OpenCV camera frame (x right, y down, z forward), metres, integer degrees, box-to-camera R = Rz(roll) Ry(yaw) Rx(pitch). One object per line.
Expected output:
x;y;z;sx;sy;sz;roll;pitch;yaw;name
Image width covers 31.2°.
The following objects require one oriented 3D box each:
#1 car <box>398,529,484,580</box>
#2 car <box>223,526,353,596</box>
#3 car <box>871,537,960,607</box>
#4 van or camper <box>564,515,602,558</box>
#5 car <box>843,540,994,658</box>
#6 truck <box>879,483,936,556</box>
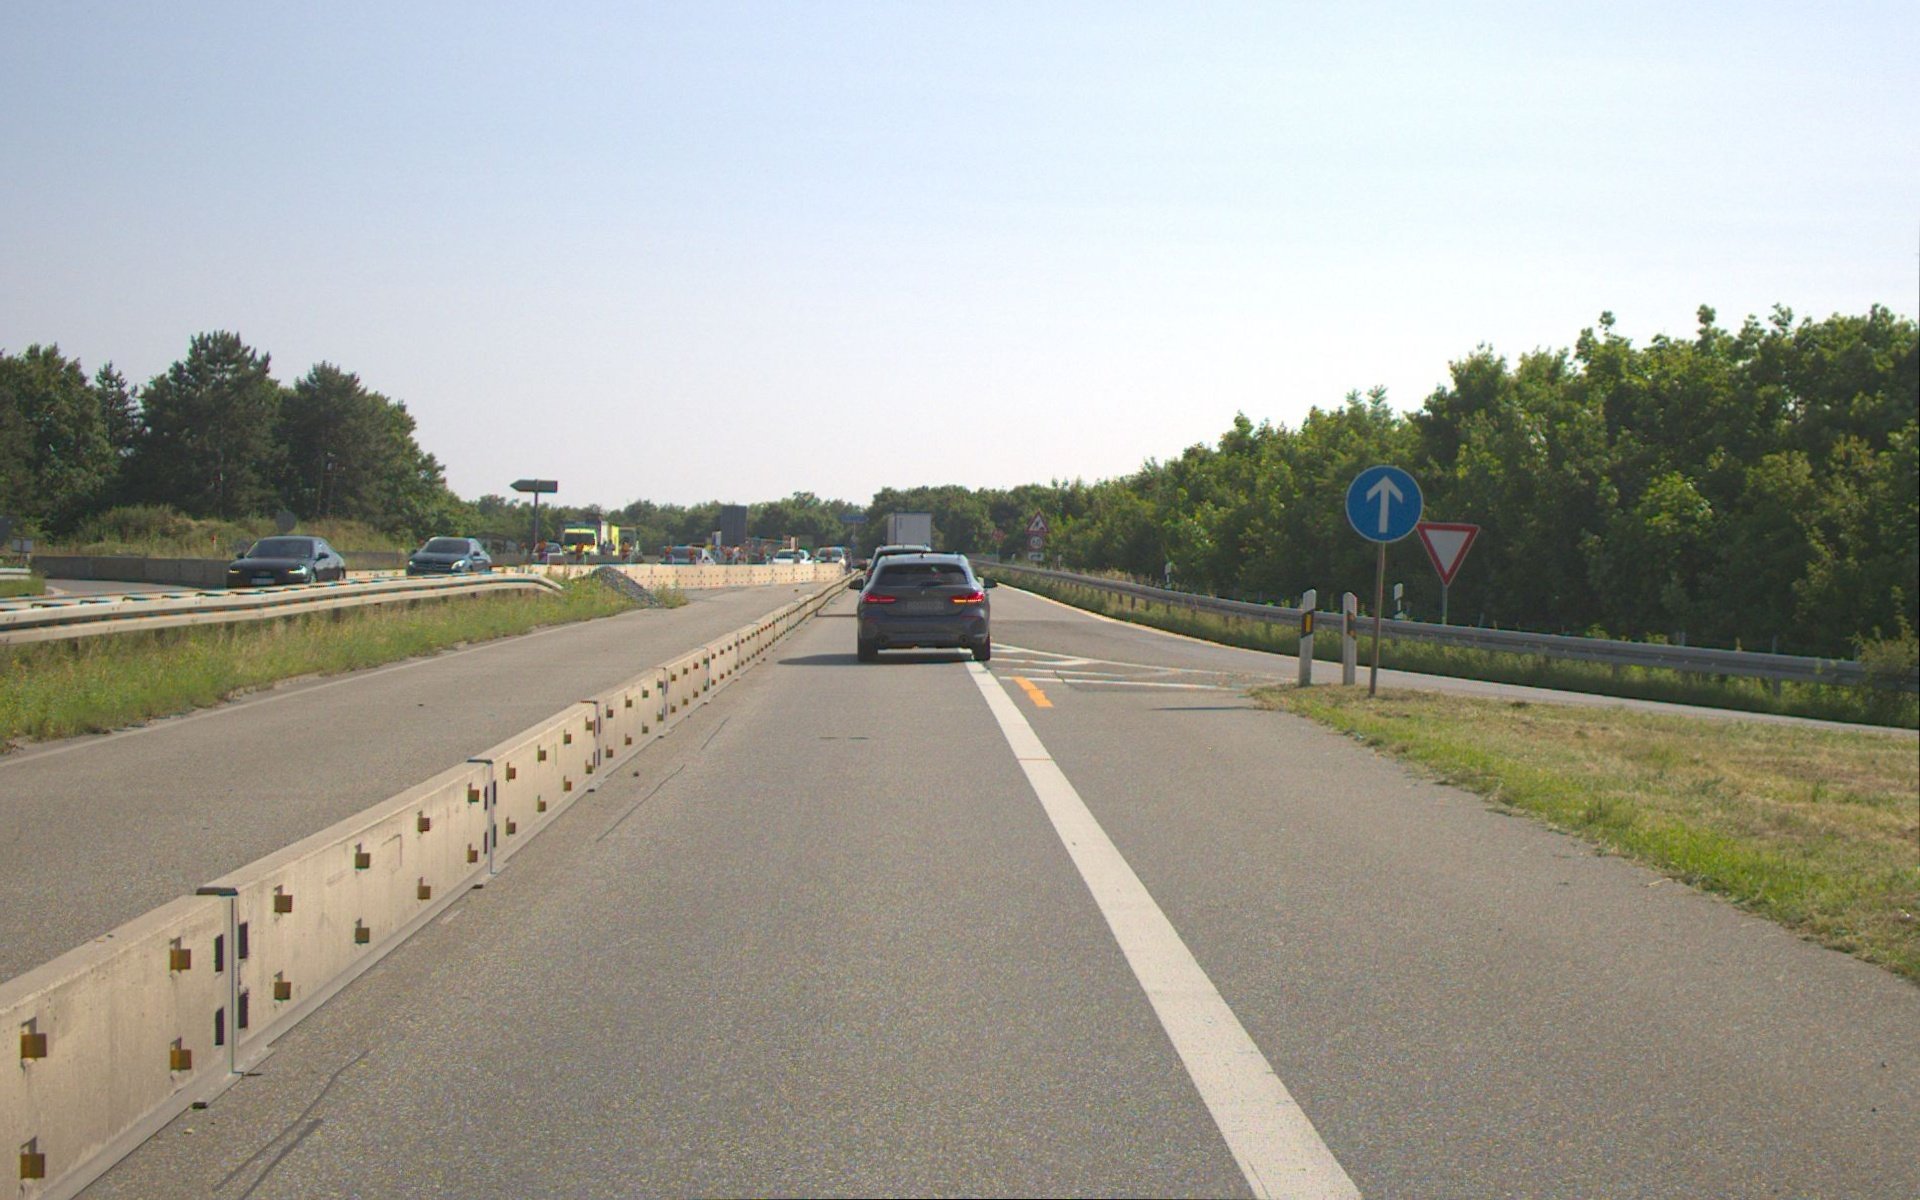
-15.045;-1.338;99.913;1.797;1.429;4.592;1;1;0;car
-15.012;-0.891;77.037;1.816;1.483;5.023;1;1;1;car
-1.008;-0.662;78.983;1.993;1.561;4.000;0;1;0;car
-21.495;-3.601;195.858;1.993;2.369;6.203;-2;1;-7;van or camper
-0.608;-0.043;47.007;1.920;1.488;4.001;1;1;-2;car
-3.744;-5.633;241.780;3.761;4.894;14.138;1;1;-2;truck
